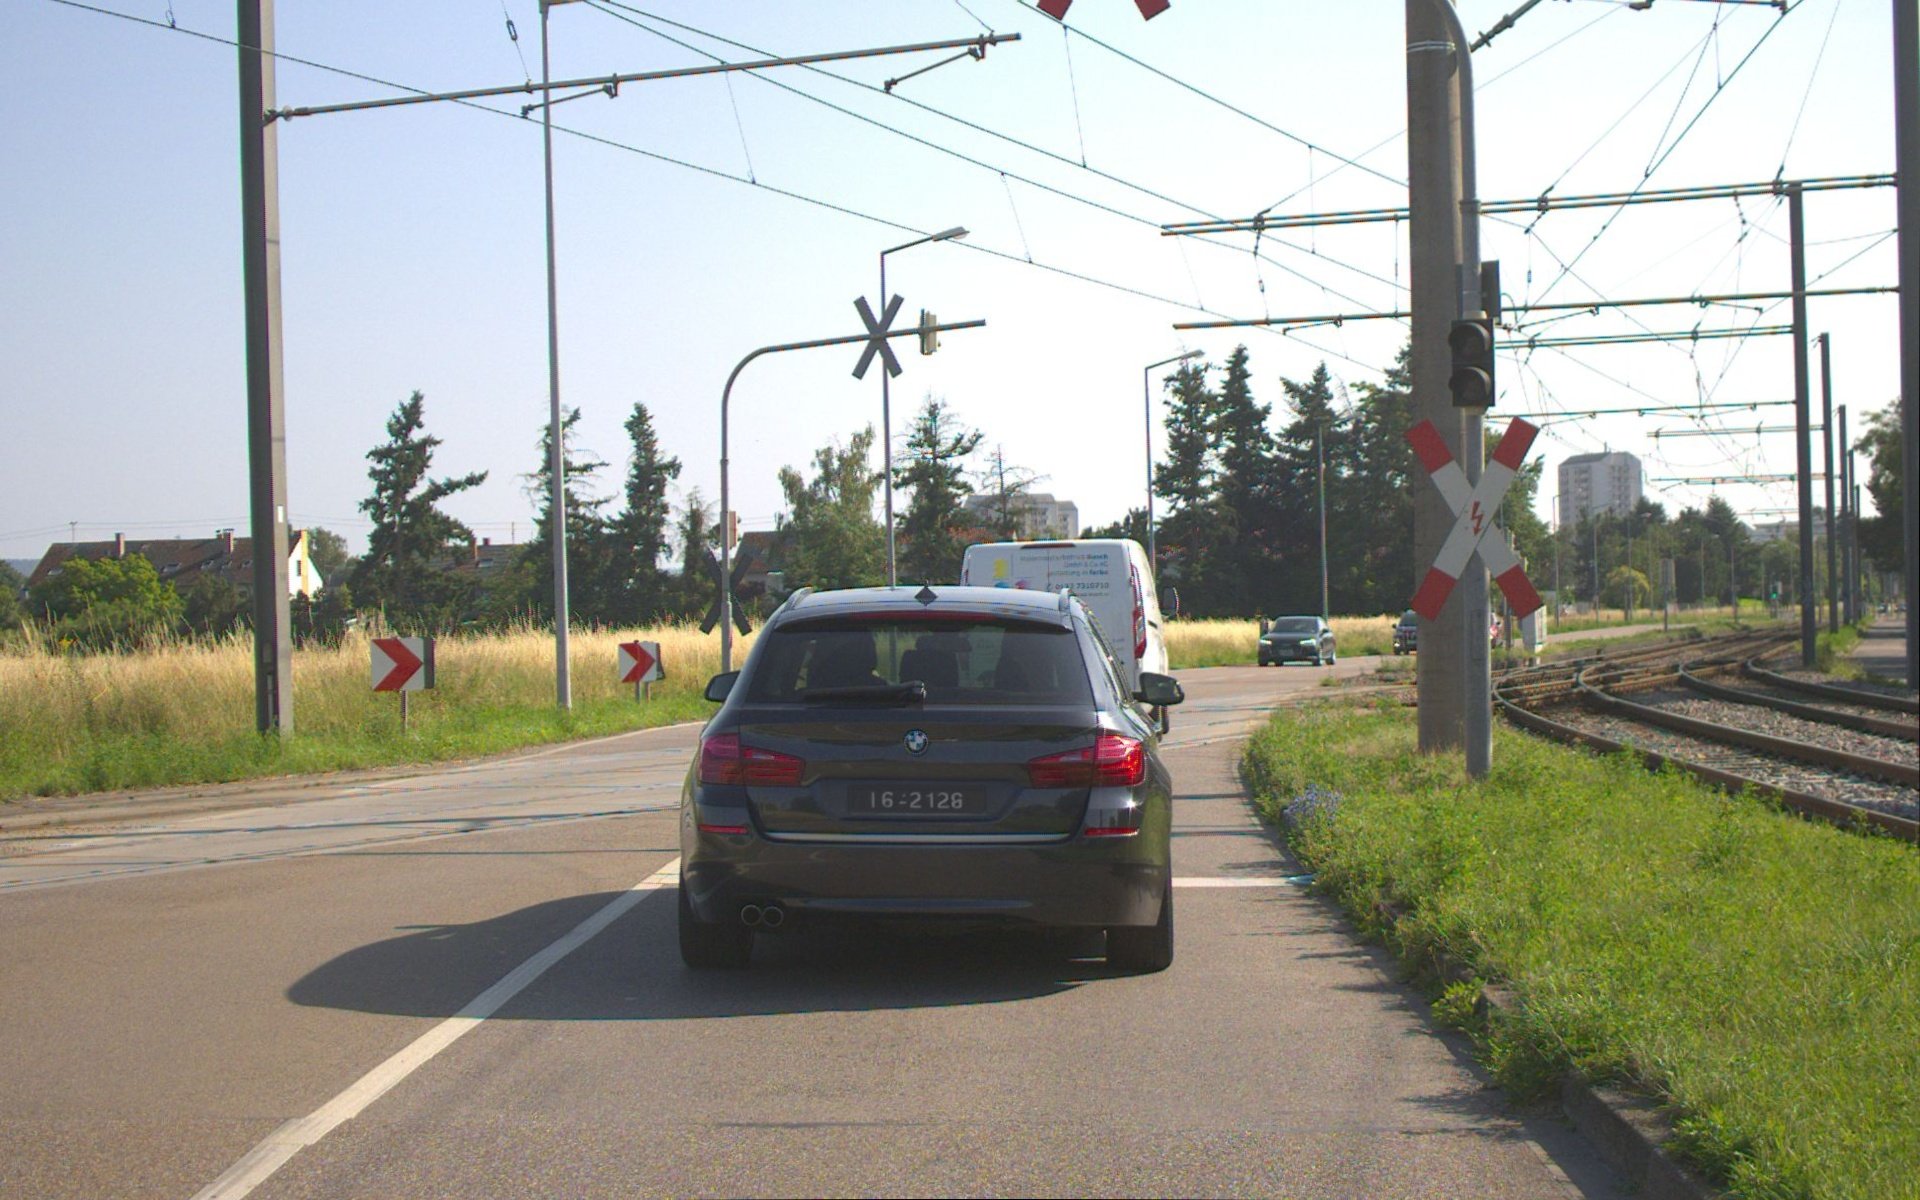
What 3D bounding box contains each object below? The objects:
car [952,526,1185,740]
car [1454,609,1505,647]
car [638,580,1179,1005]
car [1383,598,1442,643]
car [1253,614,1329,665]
[{"bbox_3d":[1.169,0.306,34.429,1.858,1.981,5.106,0,0,7],"label":"car"},{"bbox_3d":[21.986,1.180,145.341,1.714,1.544,3.925,0,0,15],"label":"car"},{"bbox_3d":[-0.175,0.656,14.308,1.869,1.447,4.744,0,1,0],"label":"car"},{"bbox_3d":[17.254,0.773,130.932,1.707,1.660,4.586,0,0,14],"label":"car"},{"bbox_3d":[9.677,1.142,100.328,1.694,1.435,4.281,0,0,13],"label":"car"}]
